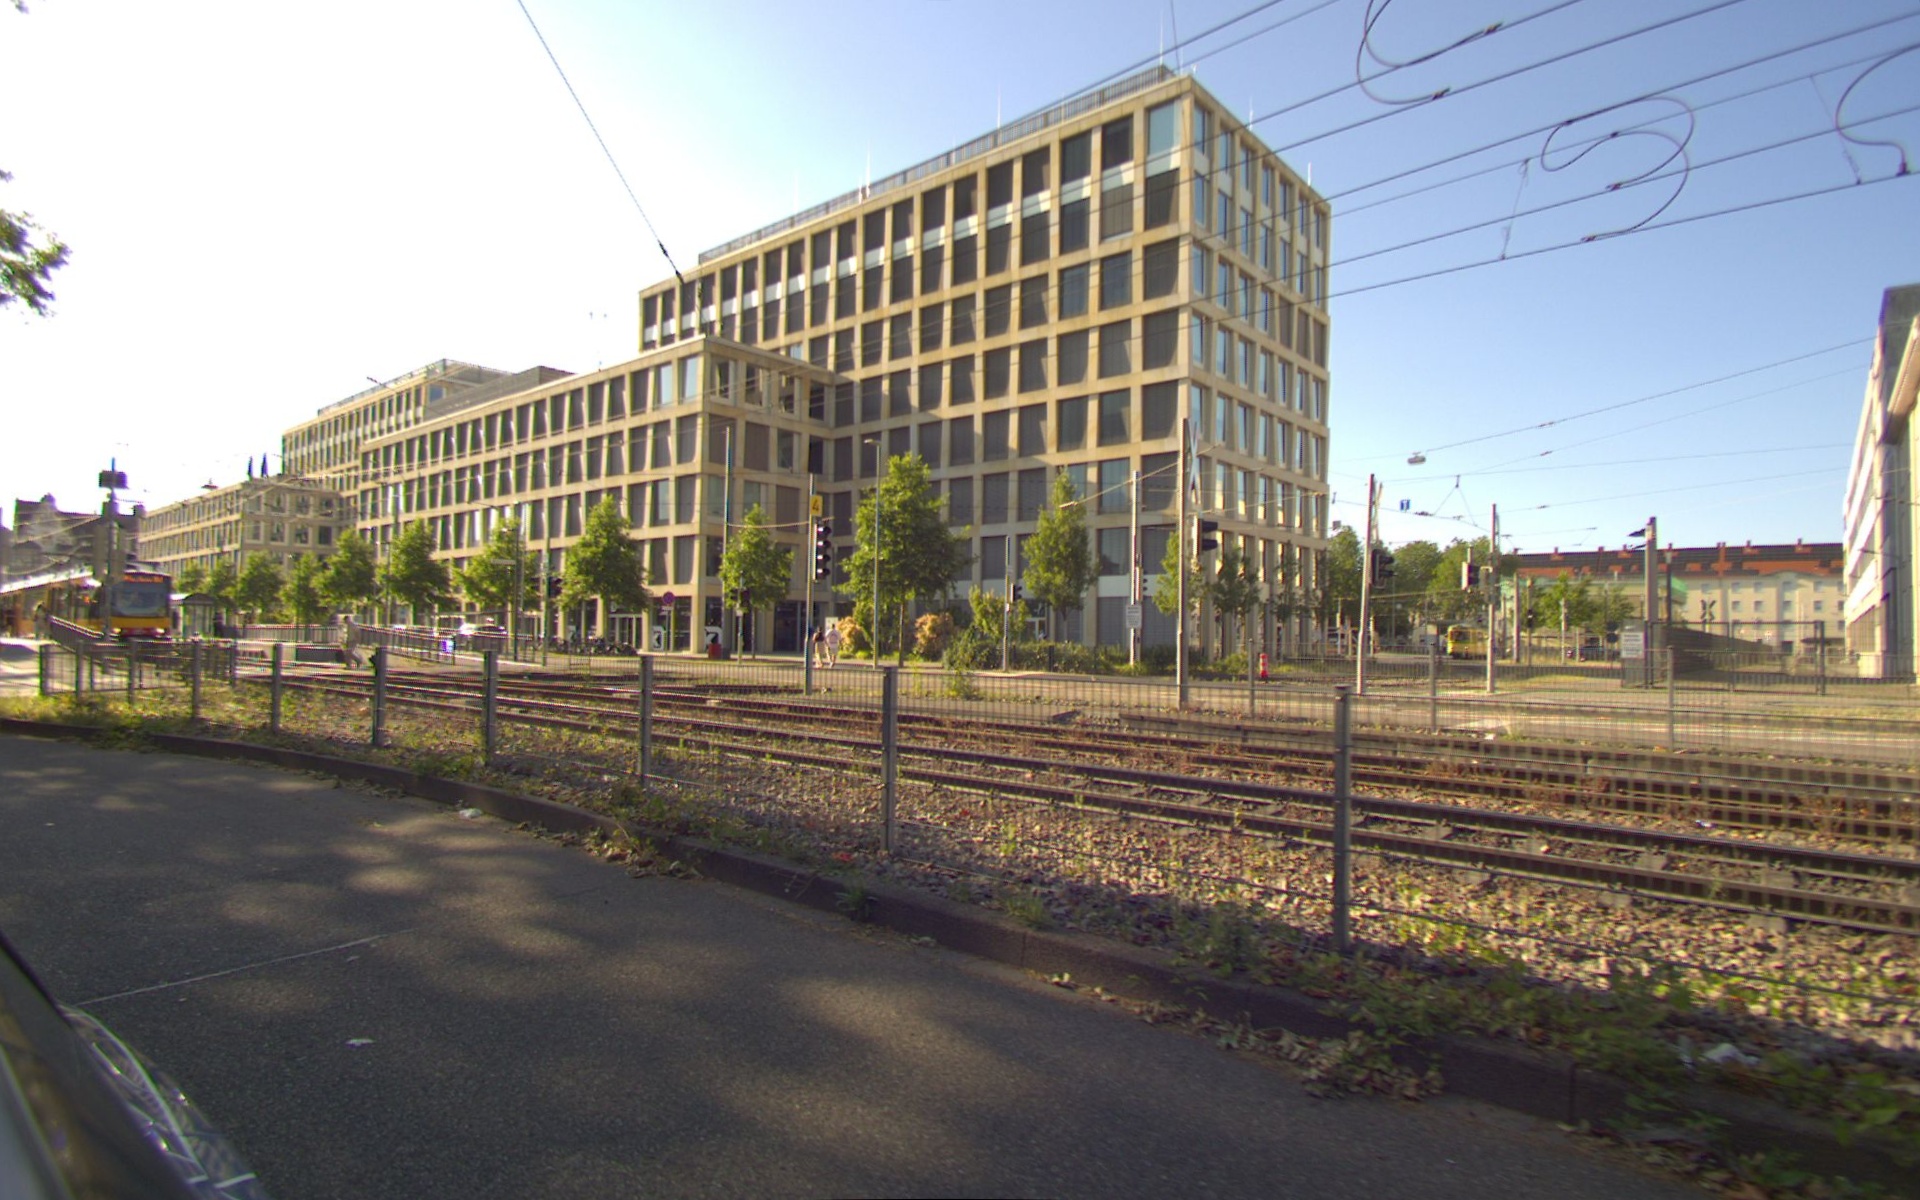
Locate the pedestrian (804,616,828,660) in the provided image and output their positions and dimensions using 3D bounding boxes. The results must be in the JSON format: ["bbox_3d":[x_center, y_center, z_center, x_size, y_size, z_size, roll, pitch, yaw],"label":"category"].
[{"bbox_3d":[-5.720,1.495,40.216,0.670,1.730,0.657,-1,-3,39],"label":"pedestrian"}]

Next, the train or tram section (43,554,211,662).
[{"bbox_3d":[-34.220,0.453,41.311,11.836,3.859,3.274,-1,-3,41],"label":"train or tram section"}]

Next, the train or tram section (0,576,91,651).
[{"bbox_3d":[-53.350,0.878,57.947,14.211,3.859,3.274,-1,-3,41],"label":"train or tram section"}]

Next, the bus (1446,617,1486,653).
[{"bbox_3d":[46.090,3.180,92.111,1.908,3.164,7.606,-1,-2,37],"label":"bus"}]

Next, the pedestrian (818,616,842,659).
[{"bbox_3d":[-5.249,1.524,40.871,0.670,1.730,0.657,-1,-3,39],"label":"pedestrian"}]

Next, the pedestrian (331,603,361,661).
[{"bbox_3d":[-18.588,0.970,30.641,0.660,1.730,0.726,2,-3,-37],"label":"pedestrian"}]

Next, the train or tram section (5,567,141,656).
[{"bbox_3d":[-43.292,0.658,49.205,11.836,3.859,3.274,-1,-3,41],"label":"train or tram section"}]

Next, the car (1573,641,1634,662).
[{"bbox_3d":[52.125,4.135,82.033,3.998,1.559,1.721,-1,-2,41],"label":"car"}]
